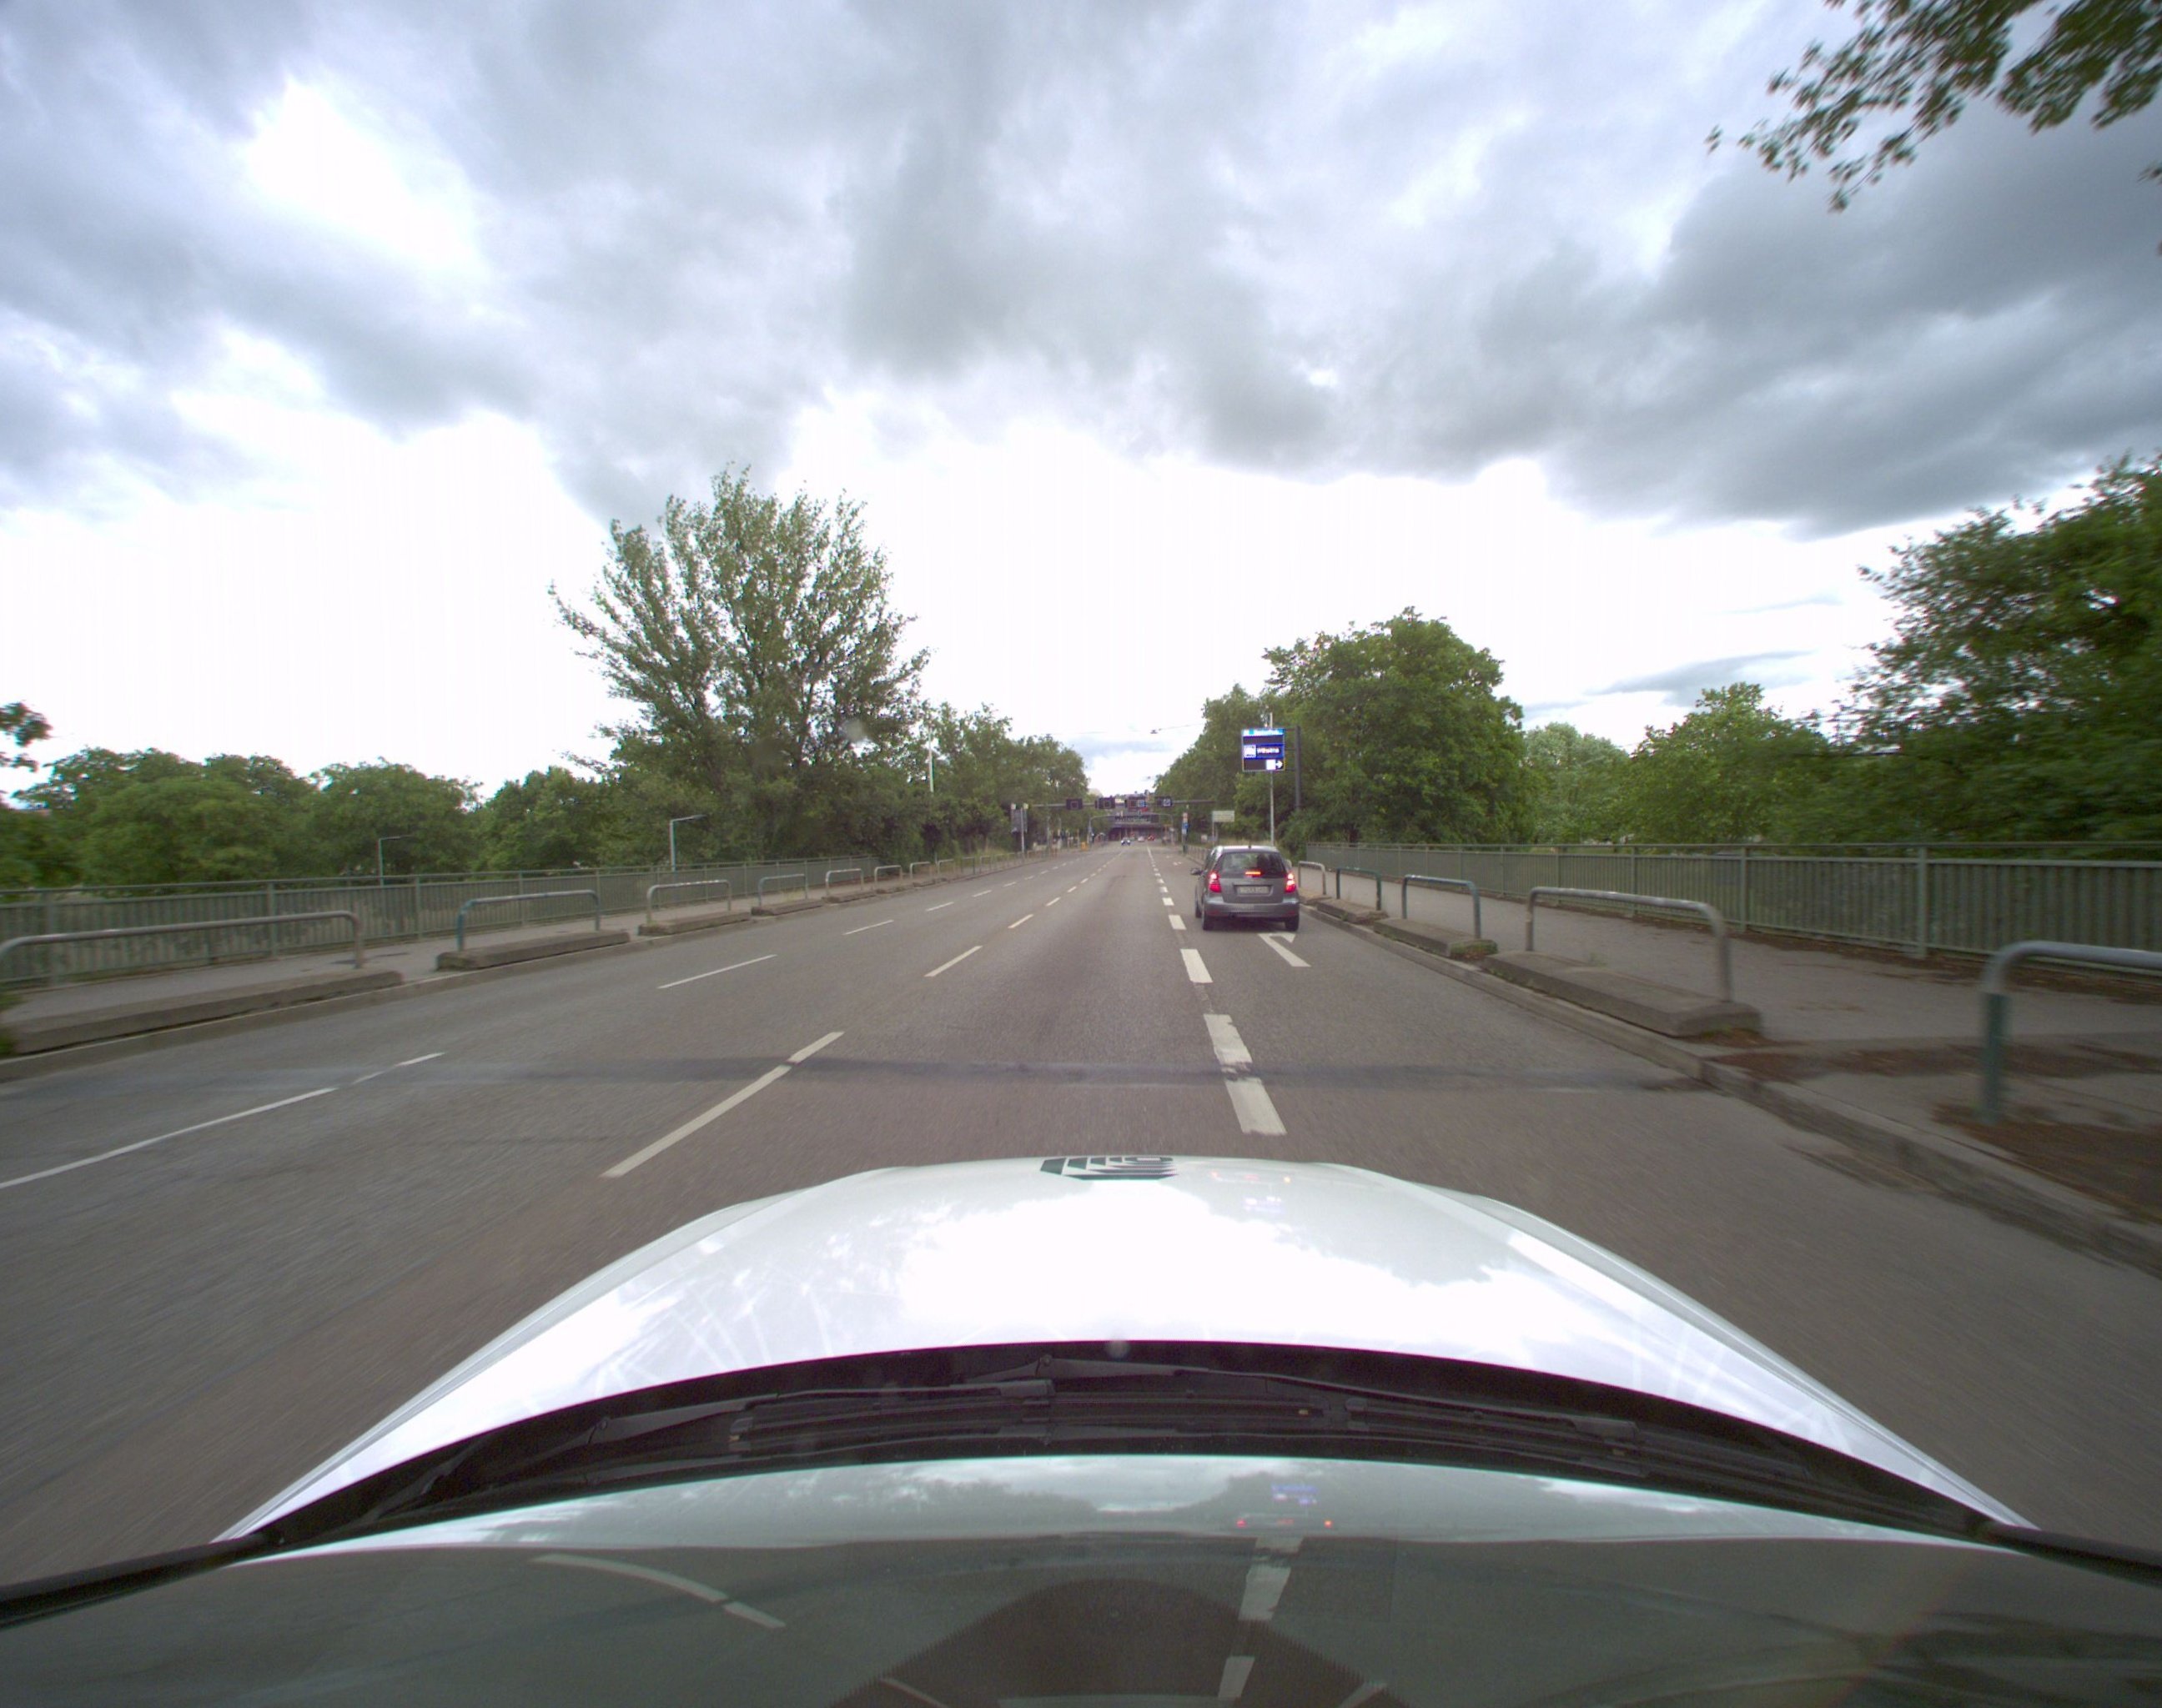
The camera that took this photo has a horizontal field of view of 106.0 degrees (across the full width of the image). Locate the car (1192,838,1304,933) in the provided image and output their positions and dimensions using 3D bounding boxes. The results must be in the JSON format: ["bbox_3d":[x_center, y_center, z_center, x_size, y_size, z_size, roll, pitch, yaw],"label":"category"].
[{"bbox_3d":[3.161,0.543,16.115,1.816,1.616,4.042,-1,0,7],"label":"car"}]

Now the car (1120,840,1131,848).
[{"bbox_3d":[9.849,-2.254,178.491,1.983,1.660,4.527,-3,1,7],"label":"car"}]
